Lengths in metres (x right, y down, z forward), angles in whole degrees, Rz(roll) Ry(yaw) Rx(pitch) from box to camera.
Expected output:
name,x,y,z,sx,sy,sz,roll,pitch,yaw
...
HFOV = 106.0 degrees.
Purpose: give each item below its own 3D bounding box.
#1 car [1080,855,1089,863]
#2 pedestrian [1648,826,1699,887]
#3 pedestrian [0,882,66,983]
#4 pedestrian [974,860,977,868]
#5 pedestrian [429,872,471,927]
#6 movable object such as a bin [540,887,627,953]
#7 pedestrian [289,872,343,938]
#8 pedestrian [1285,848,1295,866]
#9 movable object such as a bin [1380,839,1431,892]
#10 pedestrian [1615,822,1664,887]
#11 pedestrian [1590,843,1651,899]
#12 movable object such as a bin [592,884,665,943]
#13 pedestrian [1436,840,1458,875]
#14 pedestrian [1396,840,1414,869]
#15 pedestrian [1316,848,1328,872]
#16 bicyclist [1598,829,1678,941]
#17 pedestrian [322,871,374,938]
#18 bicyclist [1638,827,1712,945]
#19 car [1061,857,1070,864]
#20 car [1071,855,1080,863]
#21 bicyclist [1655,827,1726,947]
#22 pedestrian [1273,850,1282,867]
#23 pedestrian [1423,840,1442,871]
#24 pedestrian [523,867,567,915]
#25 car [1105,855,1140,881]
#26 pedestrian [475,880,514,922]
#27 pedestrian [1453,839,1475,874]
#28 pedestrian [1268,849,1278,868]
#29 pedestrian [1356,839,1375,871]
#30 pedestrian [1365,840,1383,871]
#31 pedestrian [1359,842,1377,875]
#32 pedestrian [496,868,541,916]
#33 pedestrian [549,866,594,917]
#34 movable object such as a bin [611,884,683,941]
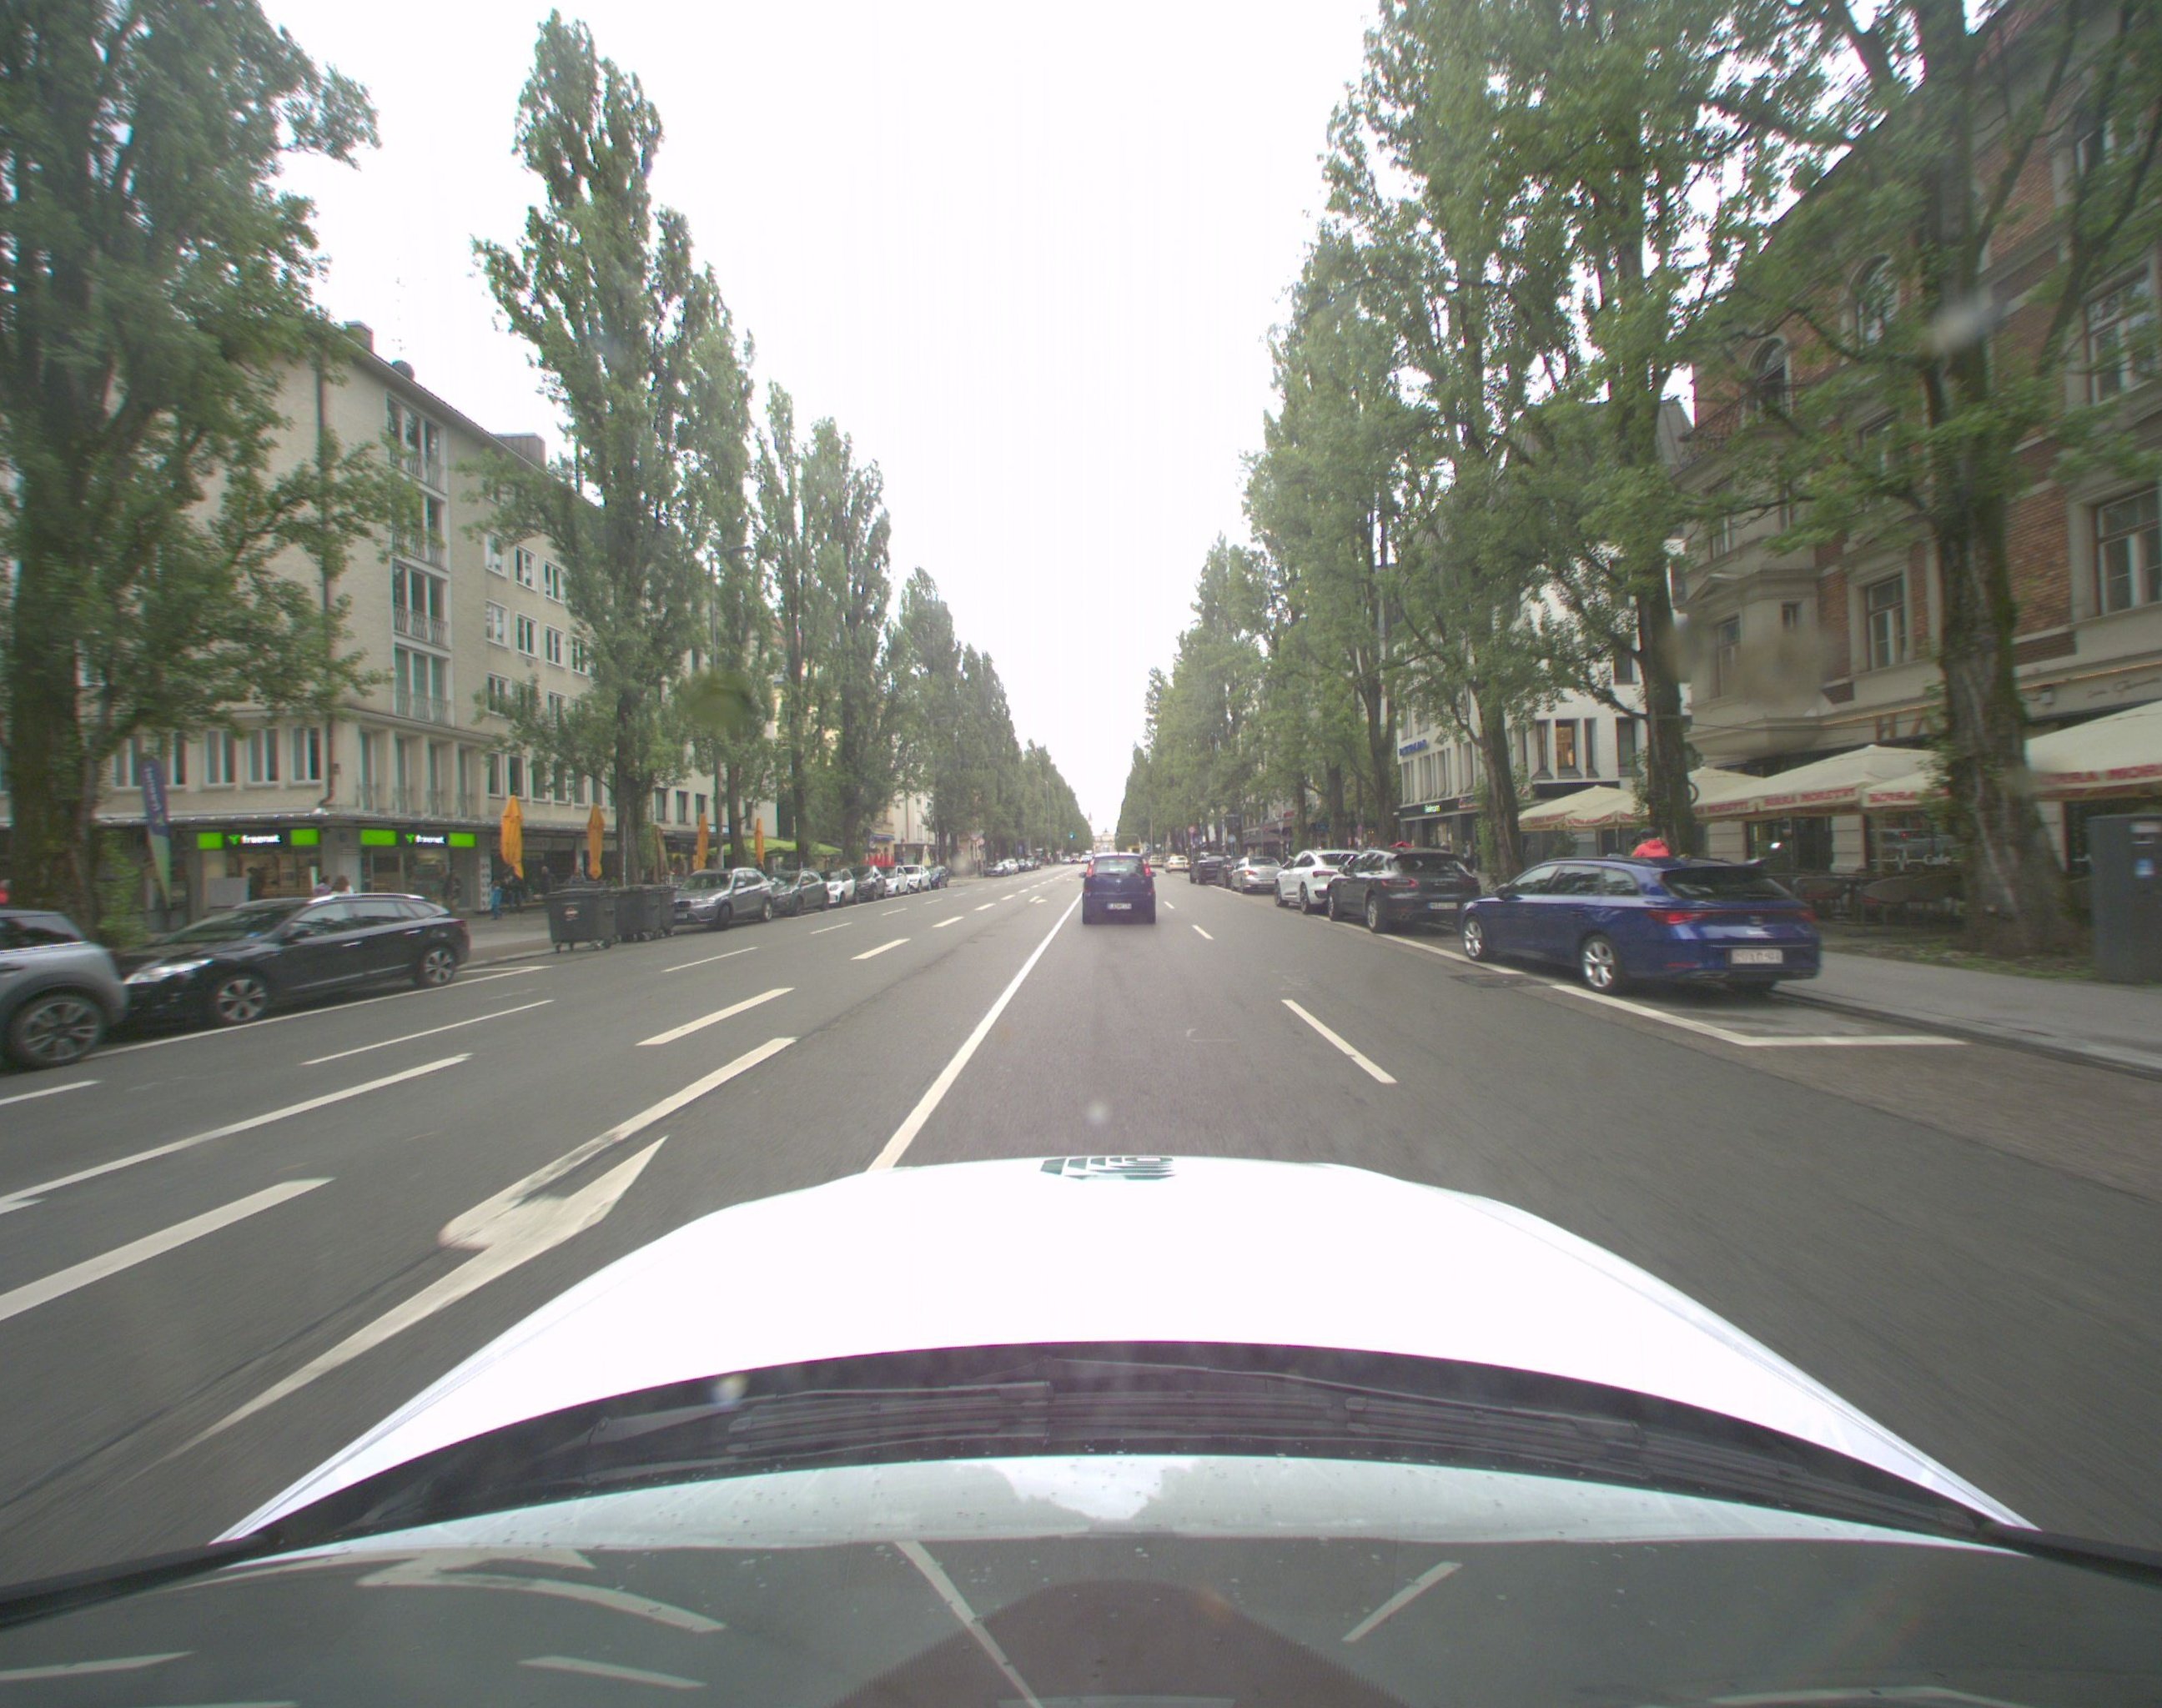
name,x,y,z,sx,sy,sz,roll,pitch,yaw
car,0.788,0.996,178.516,1.828,1.677,3.779,-2,0,1
pedestrian,16.838,0.065,23.152,0.726,1.677,0.932,-2,0,2
pedestrian,-18.492,1.336,14.048,0.731,1.673,0.953,-1,-1,1
pedestrian,-14.762,1.407,113.928,0.287,1.090,0.259,-2,-1,7
pedestrian,-20.298,1.445,26.205,0.623,1.721,0.827,-2,0,1
movable object such as a bin,-10.735,1.418,17.609,1.272,1.310,0.902,-2,0,1
pedestrian,-20.542,1.352,21.888,0.623,1.721,0.827,-2,0,1
pedestrian,18.236,0.259,70.977,0.682,1.469,0.678,-2,0,2
movable object such as a bin,11.085,0.389,27.906,1.030,1.703,1.585,-2,0,-2
pedestrian,16.003,0.014,23.354,0.726,1.802,0.932,-2,0,2
pedestrian,12.839,0.401,19.385,0.925,1.267,0.731,-2,0,0
movable object such as a bin,-10.844,1.410,19.546,1.255,1.317,0.825,-2,0,0
pedestrian,17.314,0.176,38.518,0.652,1.626,0.704,-2,0,-1
pedestrian,18.350,0.038,46.096,0.732,1.626,0.766,-1,-1,2
pedestrian,17.364,0.441,58.689,0.651,1.751,0.860,-1,-1,2
bicyclist,8.296,0.450,12.160,0.619,1.588,0.753,-2,0,1
pedestrian,-19.831,1.350,22.047,0.623,1.721,0.827,-2,0,1
bicyclist,8.284,0.443,11.376,0.619,1.588,0.481,-2,0,1
car,-3.812,1.576,197.399,1.955,1.549,3.779,-2,0,1
car,-1.309,1.099,188.861,1.828,1.739,3.779,-2,0,1
bicyclist,8.278,0.441,11.075,0.619,1.588,0.391,-2,0,1
pedestrian,17.643,0.405,72.981,0.638,1.526,0.484,-2,0,1
pedestrian,18.445,0.078,42.774,0.652,1.626,0.704,-2,0,-1
pedestrian,-20.402,1.377,31.004,0.848,1.744,1.148,-2,0,2
car,2.571,0.844,51.325,1.987,1.497,4.000,-2,0,1
pedestrian,-19.451,1.543,27.012,0.623,1.325,0.827,-2,0,1
pedestrian,18.208,0.141,38.730,0.652,1.626,0.704,-2,0,-1
pedestrian,16.287,0.385,69.074,0.638,1.526,0.484,-2,0,1
pedestrian,16.658,0.074,47.688,0.790,1.812,0.682,-2,0,-1
pedestrian,16.418,0.088,45.649,0.724,1.751,0.860,-1,-1,2
pedestrian,14.129,0.242,40.091,0.651,1.601,0.705,-1,-1,2
pedestrian,-21.383,1.432,30.965,0.848,1.744,1.148,-1,0,2
pedestrian,-18.424,1.344,29.483,0.848,1.744,1.148,-2,0,2
movable object such as a bin,-10.866,1.446,20.402,1.309,1.317,0.819,-2,0,0
